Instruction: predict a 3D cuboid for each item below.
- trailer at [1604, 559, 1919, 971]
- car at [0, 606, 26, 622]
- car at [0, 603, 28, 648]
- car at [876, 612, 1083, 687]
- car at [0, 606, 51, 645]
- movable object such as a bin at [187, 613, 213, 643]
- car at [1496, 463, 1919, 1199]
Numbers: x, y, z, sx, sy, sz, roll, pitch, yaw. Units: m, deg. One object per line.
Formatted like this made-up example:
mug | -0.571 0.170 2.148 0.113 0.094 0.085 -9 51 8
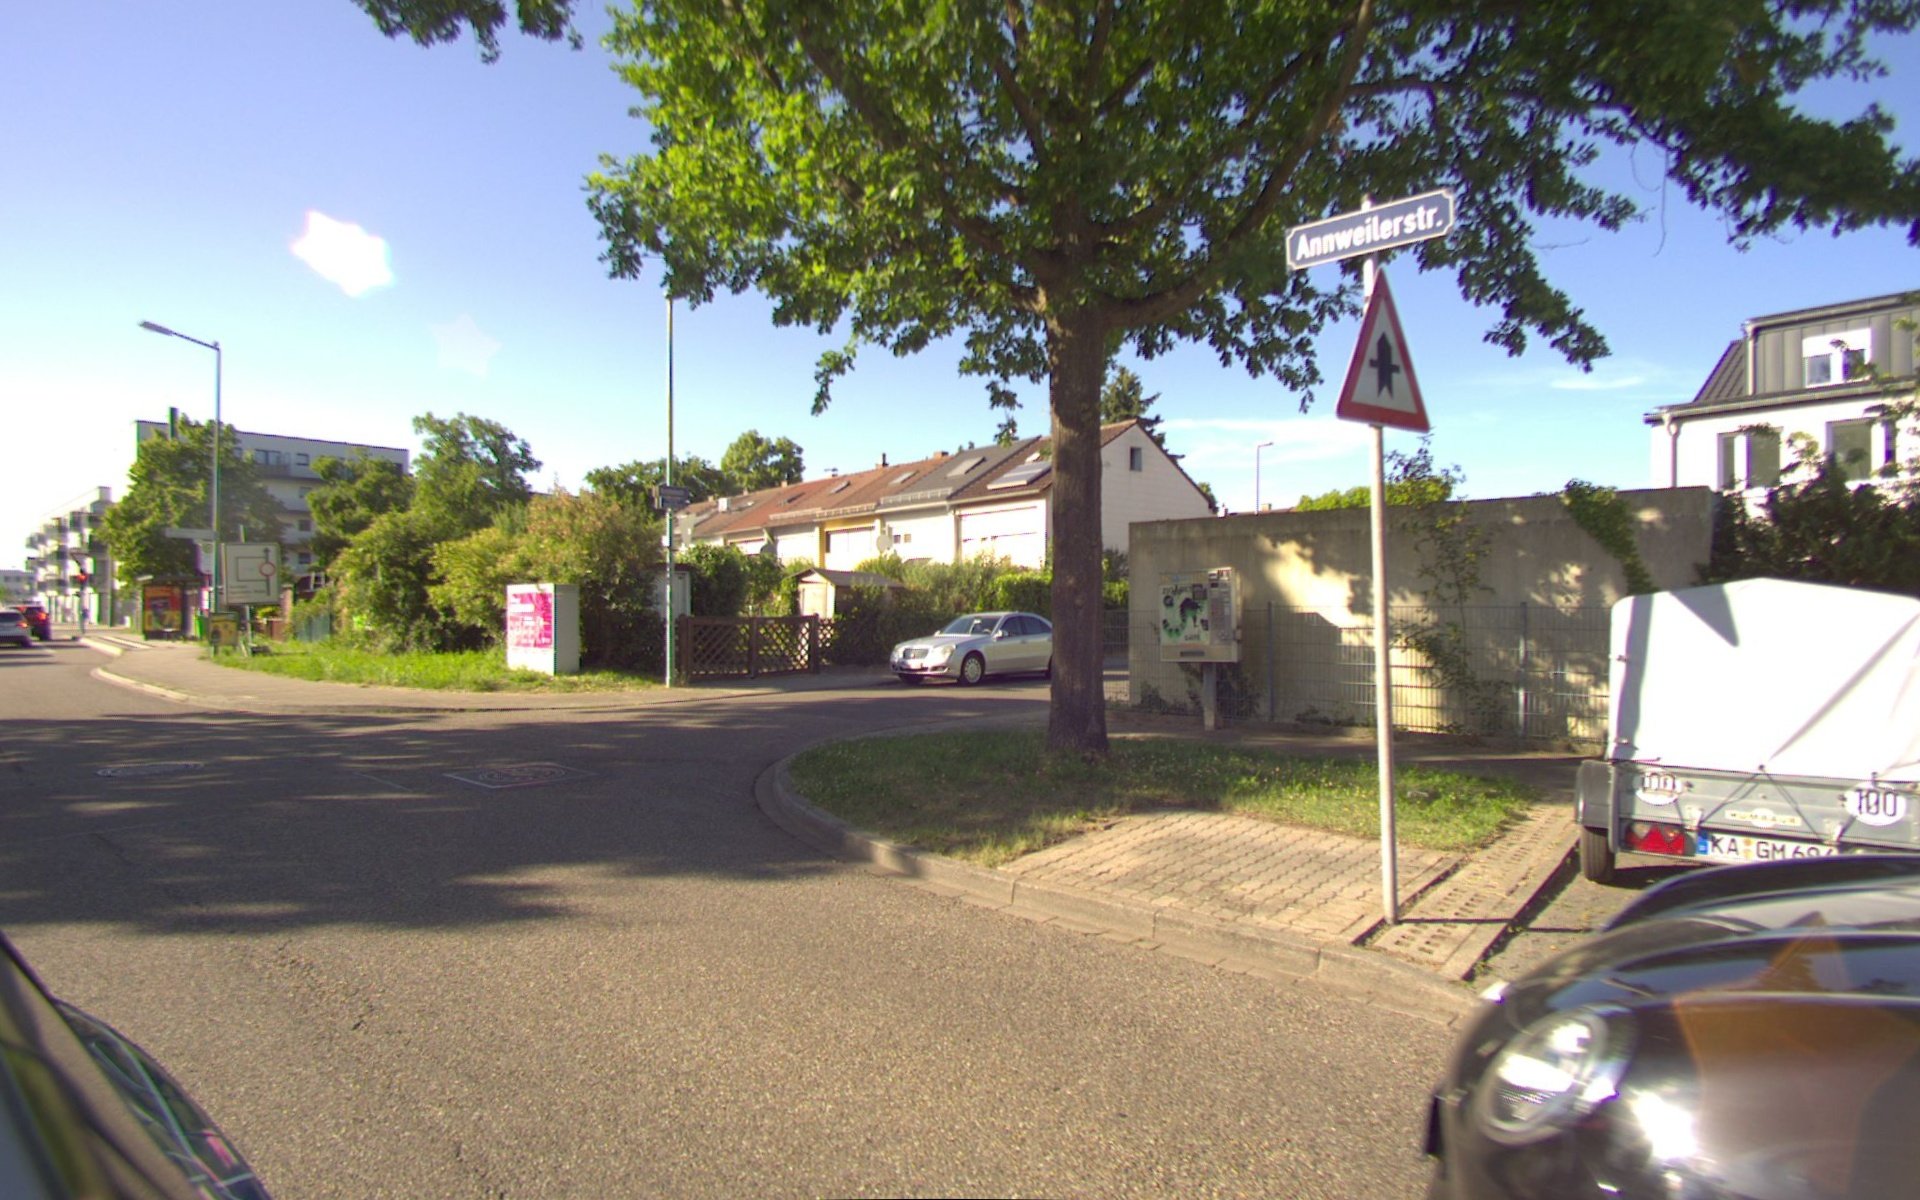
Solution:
trailer | 4.446 0.686 5.530 1.394 1.668 2.940 0 -1 36
car | -104.293 1.500 111.347 4.000 1.565 1.972 2 1 42
car | -36.642 0.937 38.104 2.183 1.603 4.538 0 0 -44
car | 0.494 0.944 20.884 1.923 1.396 4.300 -1 -1 42
car | -40.881 1.055 43.887 4.182 1.600 1.918 0 0 45
movable object such as a bin | -26.464 0.970 35.251 0.558 0.975 0.586 -1 3 44
car | 2.818 0.663 0.767 3.996 1.567 1.890 0 -2 39
